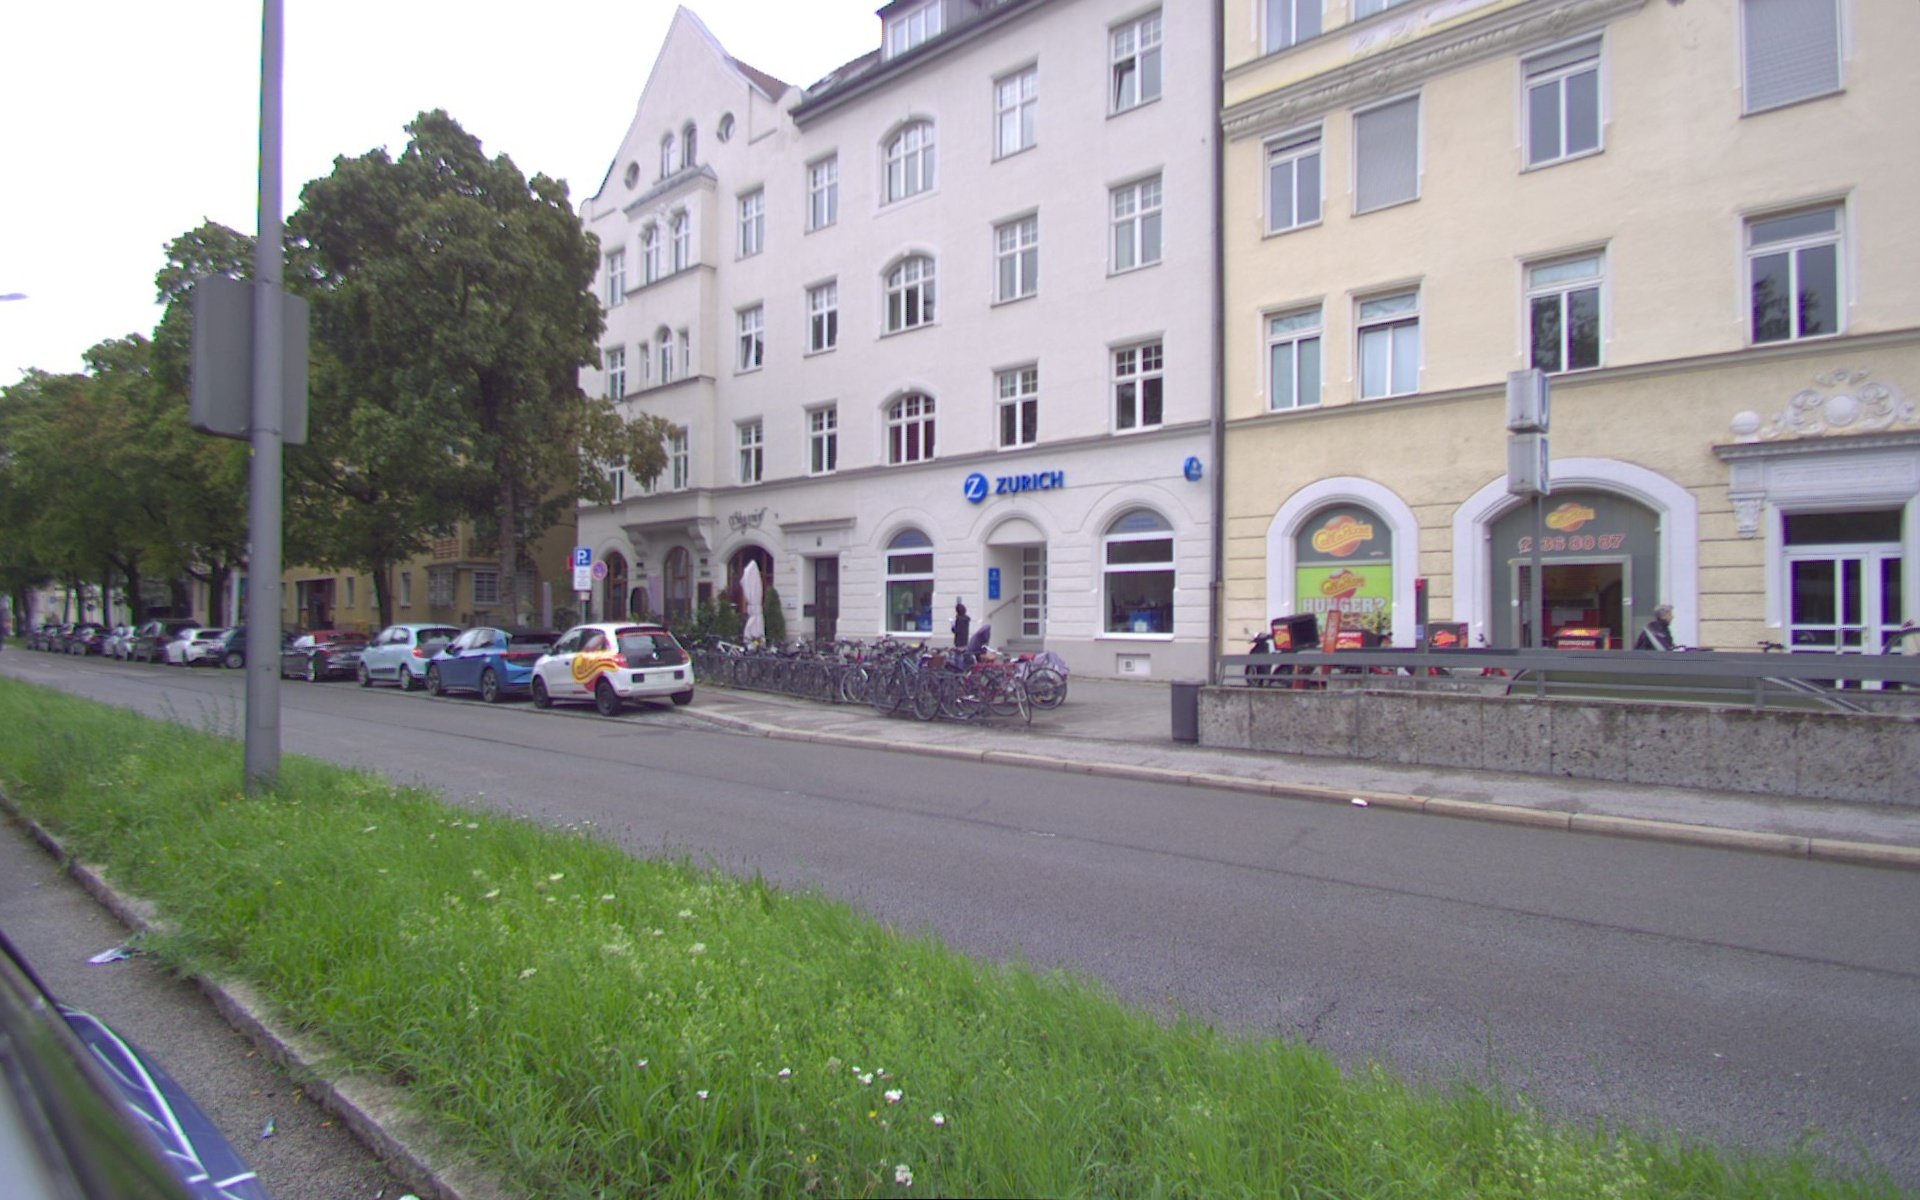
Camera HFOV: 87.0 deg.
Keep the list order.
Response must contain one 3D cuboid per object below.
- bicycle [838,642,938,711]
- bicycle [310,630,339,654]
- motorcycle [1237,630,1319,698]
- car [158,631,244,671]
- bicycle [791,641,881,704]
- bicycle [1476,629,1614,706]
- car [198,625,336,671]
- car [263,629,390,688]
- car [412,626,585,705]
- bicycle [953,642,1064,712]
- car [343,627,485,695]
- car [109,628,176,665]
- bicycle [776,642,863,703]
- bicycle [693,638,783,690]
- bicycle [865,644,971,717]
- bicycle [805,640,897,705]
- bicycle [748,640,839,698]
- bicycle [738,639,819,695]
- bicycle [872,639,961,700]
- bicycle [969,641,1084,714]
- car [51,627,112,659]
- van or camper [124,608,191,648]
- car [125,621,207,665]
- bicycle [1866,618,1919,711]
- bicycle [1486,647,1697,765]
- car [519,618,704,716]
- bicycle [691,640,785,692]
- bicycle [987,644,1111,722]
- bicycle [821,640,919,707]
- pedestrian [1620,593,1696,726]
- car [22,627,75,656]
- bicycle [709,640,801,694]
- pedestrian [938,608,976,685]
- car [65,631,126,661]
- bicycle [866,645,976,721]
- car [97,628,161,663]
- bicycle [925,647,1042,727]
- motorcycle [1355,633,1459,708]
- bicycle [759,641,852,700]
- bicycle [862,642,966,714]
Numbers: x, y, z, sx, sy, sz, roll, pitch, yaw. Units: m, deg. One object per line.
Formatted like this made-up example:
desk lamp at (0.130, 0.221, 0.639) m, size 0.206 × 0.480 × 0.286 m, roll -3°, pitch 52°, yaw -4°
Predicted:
bicycle at (-1.219, 1.265, 17.017) m, size 1.667 × 1.124 × 0.328 m, roll -1°, pitch -2°, yaw 18°
bicycle at (-33.231, 2.163, 52.908) m, size 1.929 × 1.231 × 0.762 m, roll -1°, pitch -2°, yaw 41°
motorcycle at (5.855, 1.151, 18.741) m, size 0.600 × 1.139 × 1.991 m, roll 0°, pitch -1°, yaw -9°
car at (-28.634, 1.890, 38.130) m, size 4.401 × 1.413 × 1.708 m, roll -1°, pitch -2°, yaw 41°
bicycle at (-2.304, 1.331, 18.734) m, size 1.667 × 1.124 × 0.328 m, roll -1°, pitch -2°, yaw 18°
bicycle at (7.859, 0.884, 13.640) m, size 1.544 × 0.988 × 0.468 m, roll -1°, pitch -2°, yaw 41°
car at (-25.193, 1.698, 36.880) m, size 1.730 × 1.475 × 3.851 m, roll -1°, pitch -1°, yaw 39°
car at (-17.970, 1.586, 28.629) m, size 4.643 × 1.518 × 1.792 m, roll -1°, pitch -2°, yaw 41°
car at (-9.949, 1.329, 21.684) m, size 4.289 × 1.518 × 1.792 m, roll -1°, pitch -2°, yaw 41°
bicycle at (0.795, 1.253, 16.731) m, size 1.799 × 1.124 × 0.394 m, roll -1°, pitch -2°, yaw 18°
car at (-13.465, 1.429, 24.874) m, size 3.958 × 1.518 × 1.792 m, roll -1°, pitch -2°, yaw 41°
car at (-36.206, 2.016, 44.800) m, size 3.007 × 1.569 × 1.710 m, roll -1°, pitch -2°, yaw 39°
bicycle at (-2.685, 1.363, 19.295) m, size 1.667 × 1.124 × 0.328 m, roll -1°, pitch -2°, yaw 18°
bicycle at (-4.977, 1.423, 22.665) m, size 1.944 × 1.124 × 0.457 m, roll -1°, pitch -1°, yaw 10°
bicycle at (-0.665, 1.255, 15.965) m, size 1.667 × 1.124 × 0.328 m, roll -1°, pitch -2°, yaw 18°
bicycle at (-1.960, 1.287, 18.132) m, size 1.667 × 1.124 × 0.328 m, roll -1°, pitch -2°, yaw 18°
bicycle at (-3.352, 1.372, 20.362) m, size 1.859 × 1.124 × 0.328 m, roll -1°, pitch -2°, yaw 18°
bicycle at (-3.755, 1.376, 20.974) m, size 1.664 × 1.124 × 0.329 m, roll -1°, pitch -2°, yaw 14°
bicycle at (-0.832, 1.298, 19.195) m, size 1.667 × 1.124 × 0.328 m, roll -1°, pitch -2°, yaw 18°
bicycle at (1.053, 1.219, 16.177) m, size 1.799 × 1.124 × 0.394 m, roll -1°, pitch -2°, yaw 18°
car at (-47.387, 2.295, 54.543) m, size 4.768 × 1.658 × 1.859 m, roll -1°, pitch -2°, yaw 41°
van or camper at (-54.083, 1.861, 68.153) m, size 6.847 × 2.599 × 2.321 m, roll -1°, pitch -2°, yaw 41°
car at (-32.948, 1.745, 41.944) m, size 4.765 × 1.741 × 1.791 m, roll -1°, pitch -2°, yaw 41°
bicycle at (10.632, 0.686, 10.689) m, size 1.544 × 0.988 × 0.468 m, roll -1°, pitch -2°, yaw 41°
bicycle at (6.492, 1.062, 10.493) m, size 1.808 × 1.124 × 0.392 m, roll -1°, pitch -2°, yaw 33°
car at (-6.466, 1.151, 18.583) m, size 3.790 × 1.597 × 1.631 m, roll -1°, pitch -2°, yaw 43°
bicycle at (-4.855, 1.438, 22.160) m, size 1.966 × 1.124 × 0.503 m, roll -1°, pitch -1°, yaw 10°
bicycle at (1.322, 1.221, 15.139) m, size 1.799 × 1.124 × 0.394 m, roll -1°, pitch -2°, yaw 18°
bicycle at (-1.558, 1.264, 17.514) m, size 1.667 × 1.124 × 0.380 m, roll -1°, pitch -2°, yaw 18°
pedestrian at (9.322, 0.774, 13.518) m, size 0.769 × 1.710 × 0.537 m, roll -1°, pitch -2°, yaw 39°
car at (-55.736, 2.495, 61.859) m, size 4.436 × 1.699 × 1.854 m, roll -1°, pitch -2°, yaw 41°
bicycle at (-4.354, 1.420, 21.540) m, size 1.860 × 1.124 × 0.548 m, roll -1°, pitch -1°, yaw 10°
pedestrian at (-0.076, 1.016, 22.280) m, size 0.416 × 1.644 × 0.784 m, roll 1°, pitch -2°, yaw -43°
car at (-43.172, 2.274, 50.504) m, size 4.361 × 1.416 × 1.709 m, roll -1°, pitch -2°, yaw 41°
bicycle at (-0.604, 1.252, 15.532) m, size 1.667 × 1.124 × 0.366 m, roll -1°, pitch -2°, yaw 18°
car at (-39.202, 2.128, 47.725) m, size 4.055 × 1.573 × 1.709 m, roll -1°, pitch -2°, yaw 41°
bicycle at (0.336, 1.252, 14.714) m, size 1.667 × 1.124 × 0.328 m, roll -1°, pitch -2°, yaw 18°
motorcycle at (7.431, 1.142, 16.934) m, size 0.600 × 1.130 × 1.991 m, roll 0°, pitch -1°, yaw -9°
bicycle at (-3.031, 1.371, 19.844) m, size 1.859 × 1.124 × 0.328 m, roll -1°, pitch -2°, yaw 18°
bicycle at (-0.744, 1.252, 16.412) m, size 1.667 × 1.124 × 0.365 m, roll -1°, pitch -2°, yaw 18°
